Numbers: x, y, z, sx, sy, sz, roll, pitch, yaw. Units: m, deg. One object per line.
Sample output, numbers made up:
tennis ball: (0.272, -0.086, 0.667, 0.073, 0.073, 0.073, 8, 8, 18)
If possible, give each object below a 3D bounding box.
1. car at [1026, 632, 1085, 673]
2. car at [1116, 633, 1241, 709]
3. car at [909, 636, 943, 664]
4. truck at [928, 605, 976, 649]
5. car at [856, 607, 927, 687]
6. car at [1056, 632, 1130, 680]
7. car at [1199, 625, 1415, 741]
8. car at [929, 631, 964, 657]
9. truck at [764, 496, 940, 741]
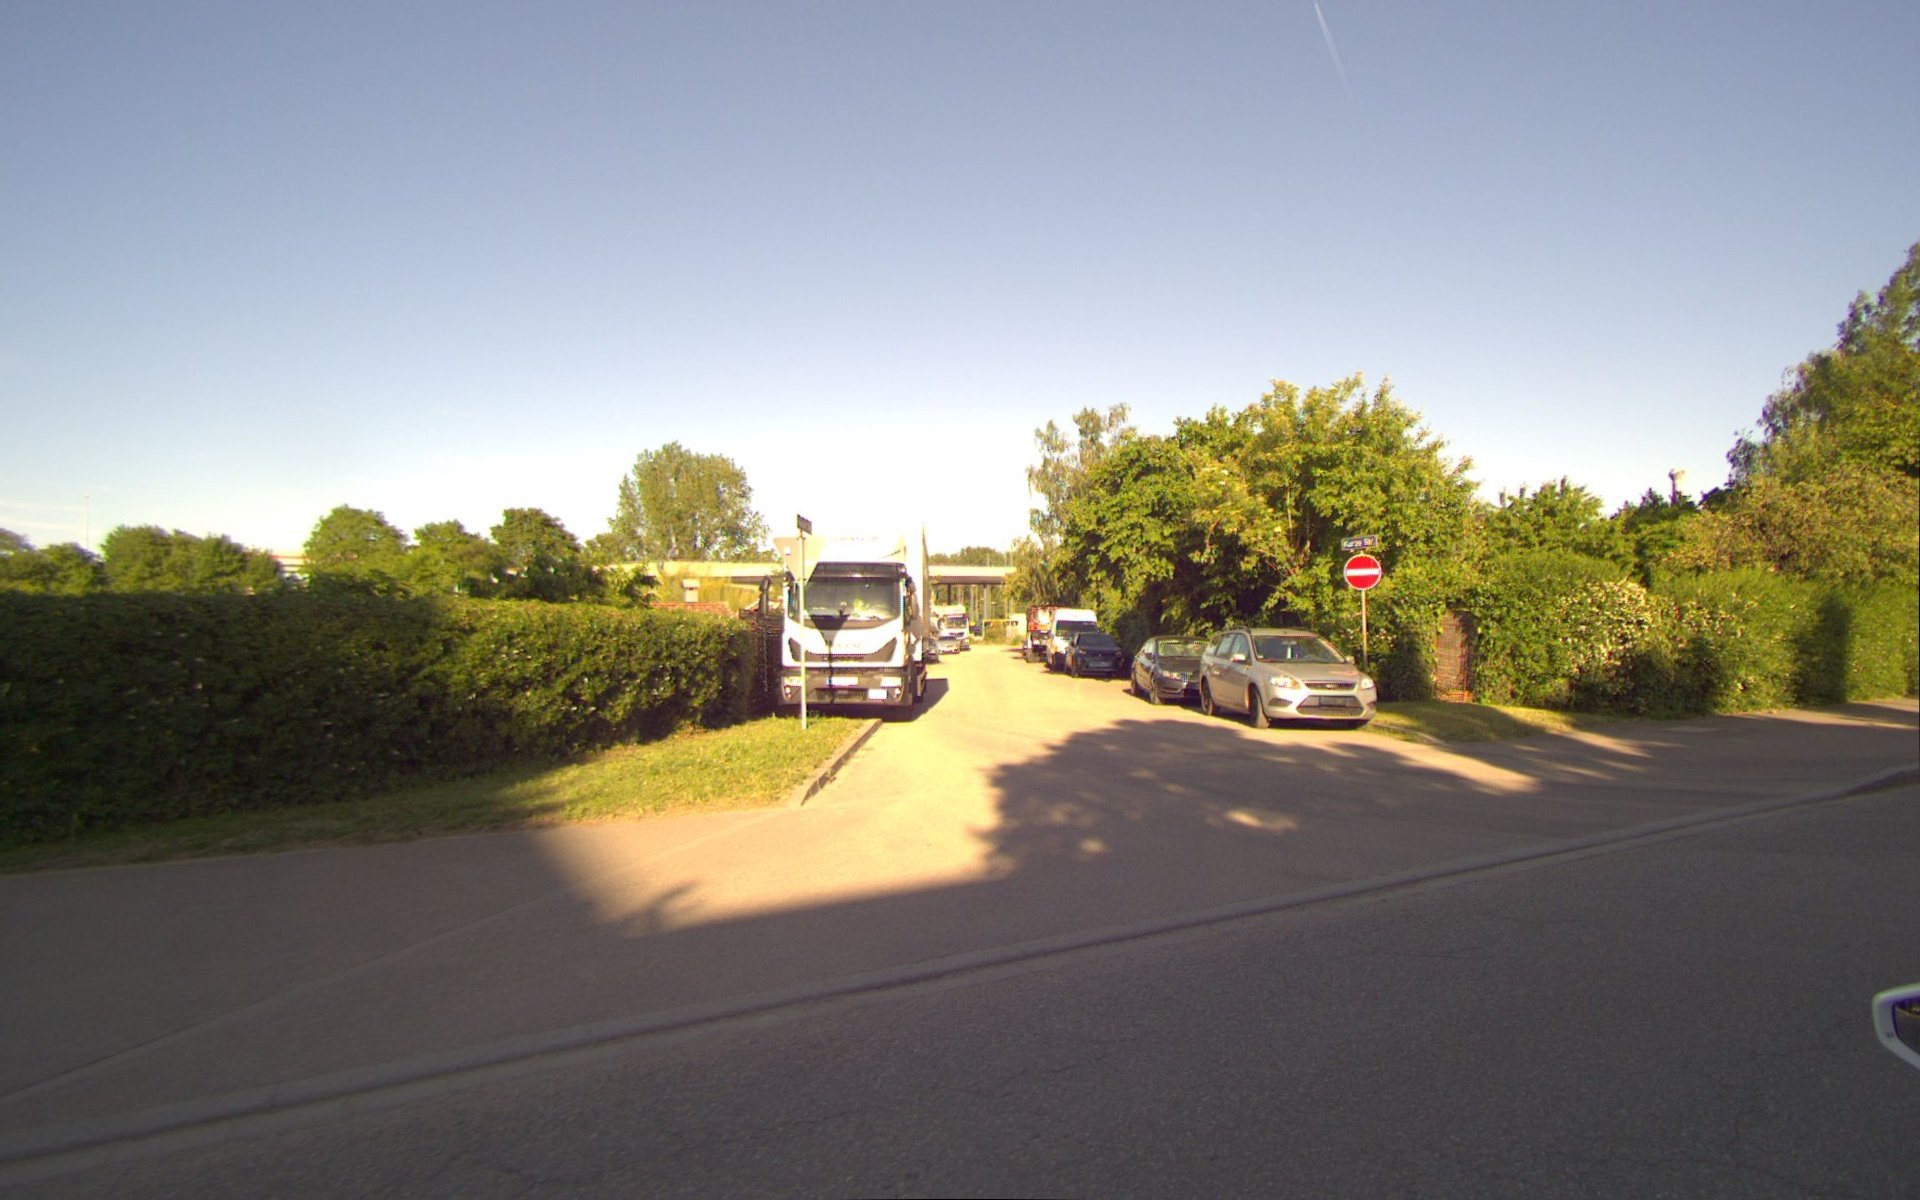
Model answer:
car: (3.871, 2.120, 41.124, 1.840, 1.452, 3.847, 1, 0, -3)
car: (4.641, 1.509, 21.896, 1.612, 1.454, 4.205, 1, -3, -3)
car: (-1.916, 2.868, 58.323, 1.876, 1.562, 4.935, 1, -2, -1)
truck: (-0.702, 2.139, 83.305, 2.957, 3.438, 6.189, 1, 0, -10)
car: (-2.176, 1.527, 33.508, 2.022, 2.383, 5.643, 1, -2, -1)
car: (4.572, 1.913, 35.067, 1.840, 1.452, 3.847, 1, 0, -3)
car: (5.401, 1.222, 16.279, 1.840, 1.510, 4.222, 1, 0, -3)
car: (-1.028, 3.289, 75.377, 2.102, 1.702, 4.160, 1, 0, -8)
truck: (-1.846, 0.439, 21.050, 2.658, 3.934, 9.336, 1, -2, 0)
